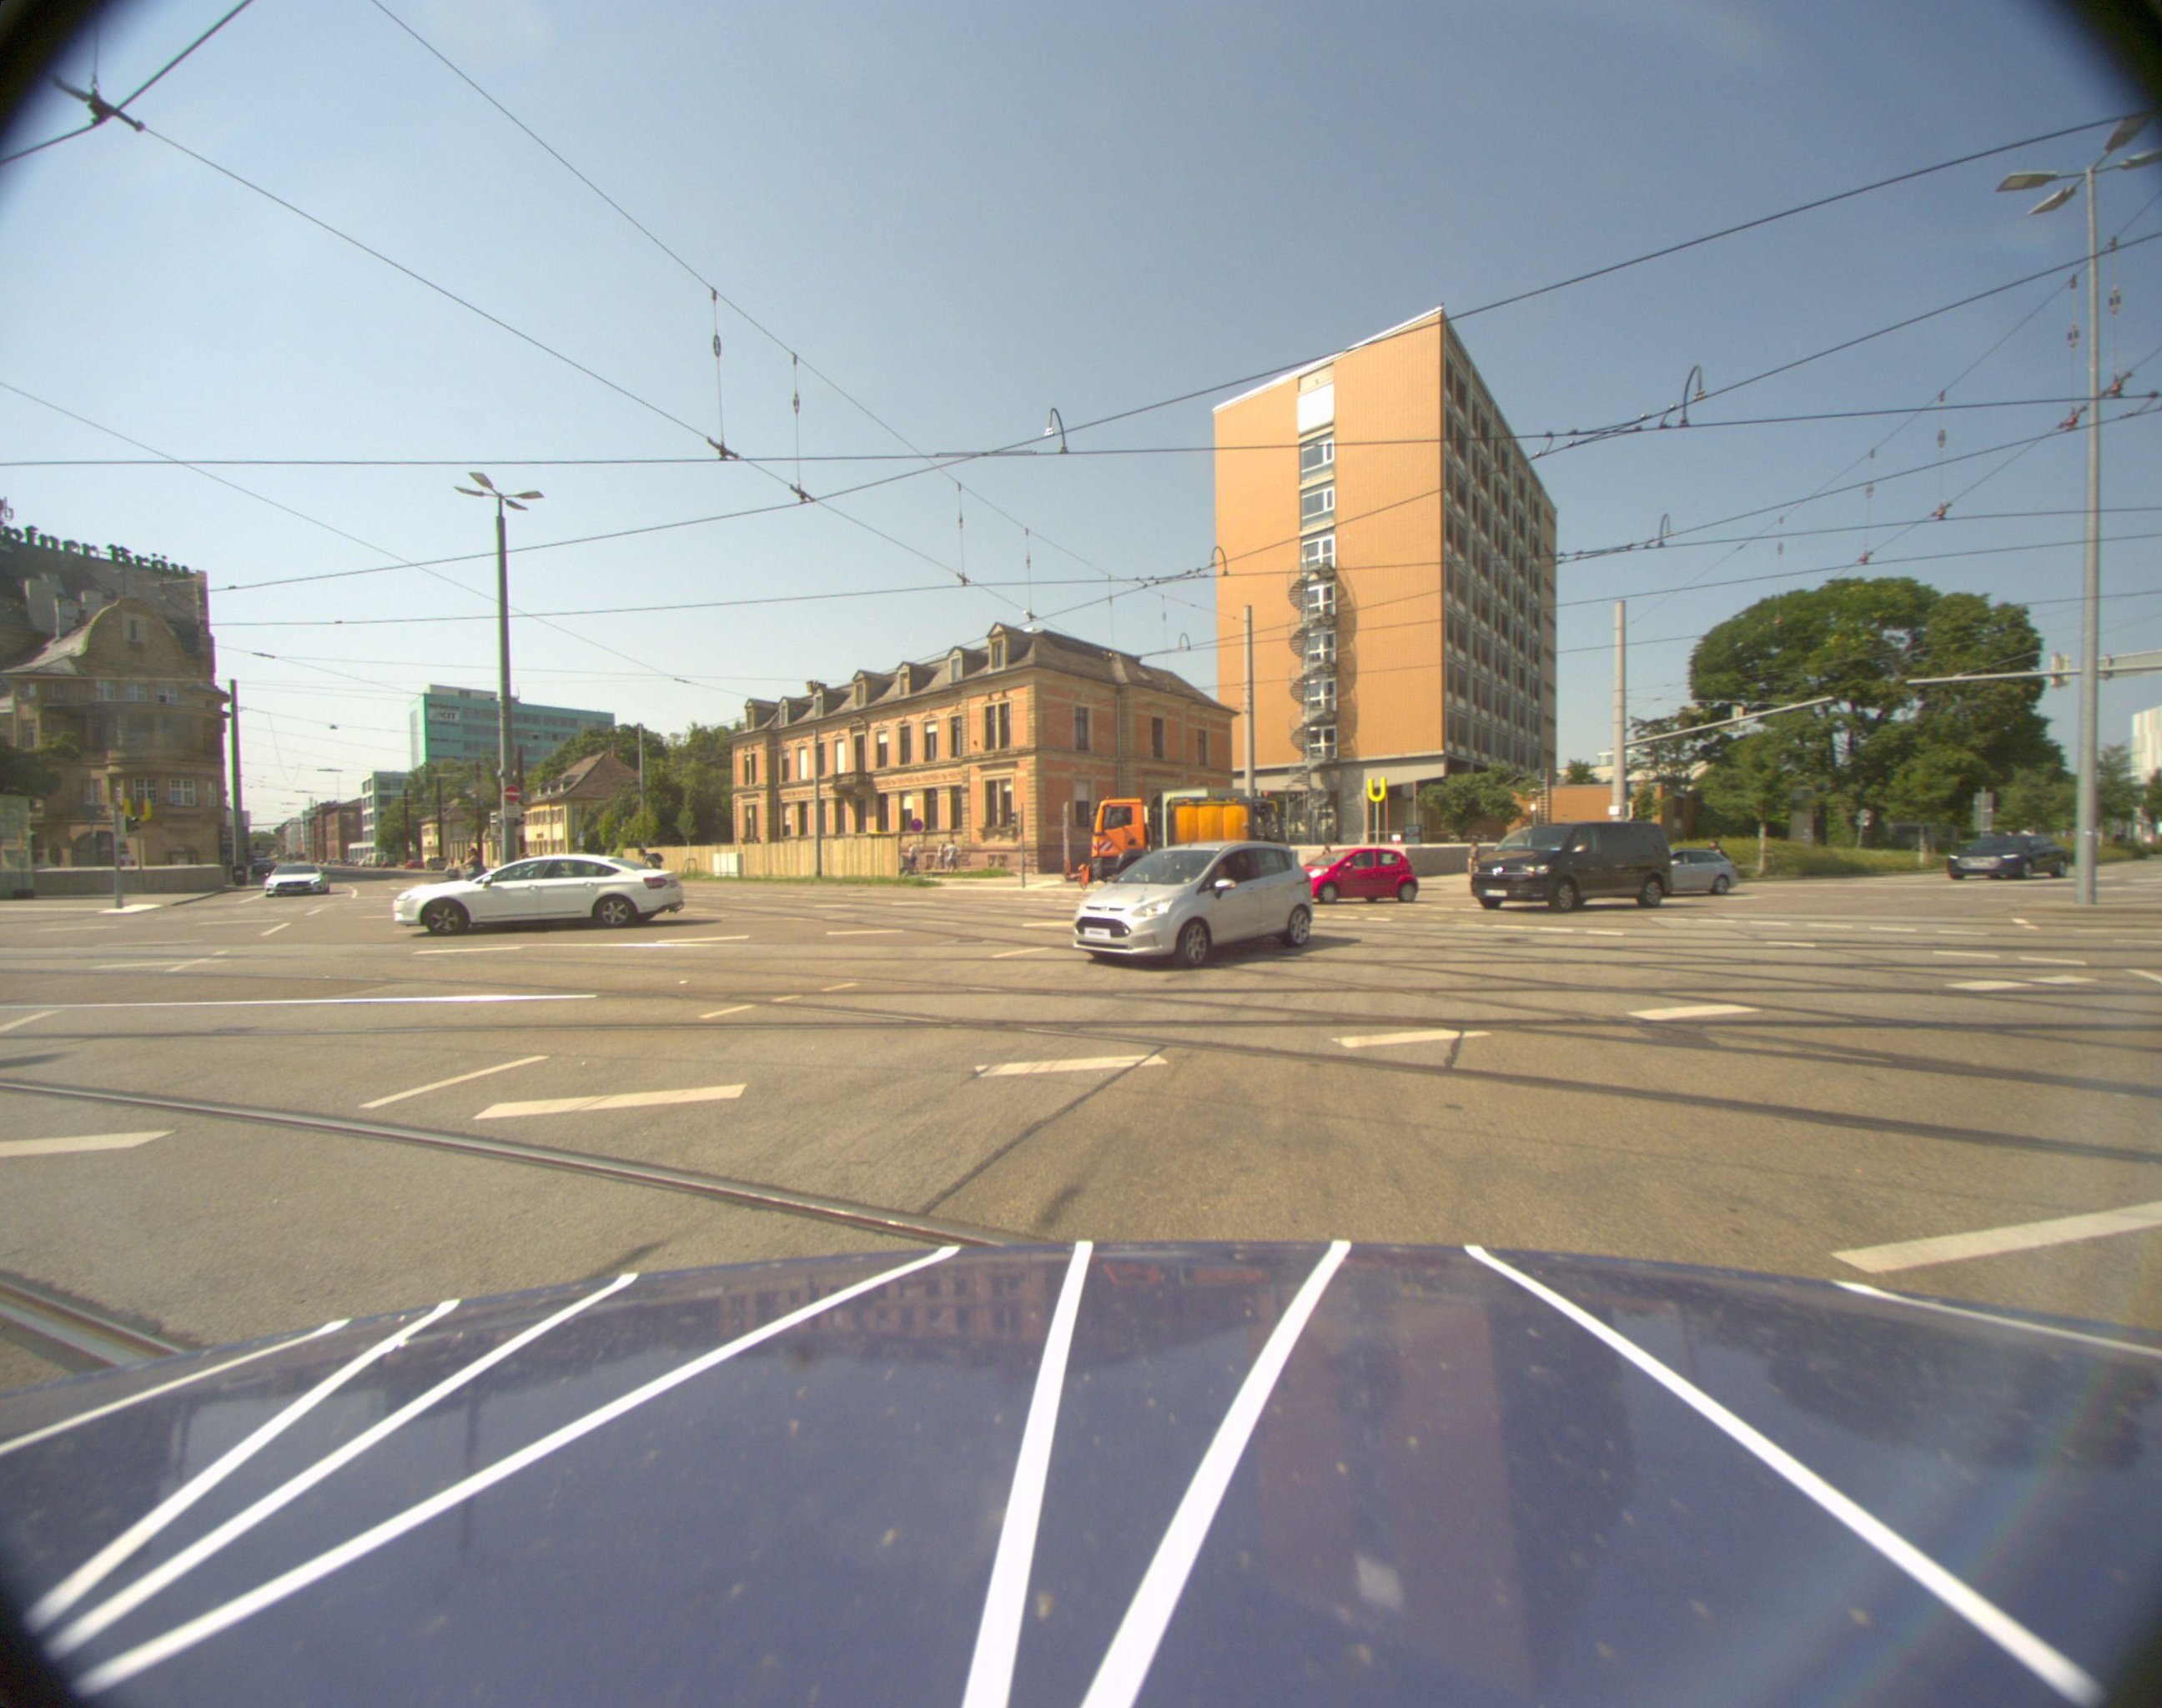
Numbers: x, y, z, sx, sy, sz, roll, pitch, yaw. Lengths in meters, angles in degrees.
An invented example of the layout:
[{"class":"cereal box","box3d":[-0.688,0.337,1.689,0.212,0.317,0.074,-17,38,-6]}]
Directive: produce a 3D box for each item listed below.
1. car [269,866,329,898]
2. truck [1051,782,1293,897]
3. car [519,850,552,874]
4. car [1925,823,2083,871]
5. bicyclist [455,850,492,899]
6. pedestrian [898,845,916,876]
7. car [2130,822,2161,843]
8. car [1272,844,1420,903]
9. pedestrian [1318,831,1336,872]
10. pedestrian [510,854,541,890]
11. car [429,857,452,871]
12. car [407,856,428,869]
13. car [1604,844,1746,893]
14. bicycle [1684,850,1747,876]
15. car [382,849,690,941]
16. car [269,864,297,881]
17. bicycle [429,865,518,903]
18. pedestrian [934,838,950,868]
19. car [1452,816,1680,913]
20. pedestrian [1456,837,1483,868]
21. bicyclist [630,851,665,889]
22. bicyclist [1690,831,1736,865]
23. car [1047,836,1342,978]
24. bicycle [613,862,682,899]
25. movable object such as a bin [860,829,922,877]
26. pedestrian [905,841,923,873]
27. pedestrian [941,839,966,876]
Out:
[{"class":"car","box3d":[-35.167,1.216,34.238,1.591,1.281,3.717,-2,1,-41]},{"class":"truck","box3d":[2.799,-0.418,24.528,7.184,3.210,3.043,-2,0,3]},{"class":"car","box3d":[-50.345,0.746,70.135,2.004,2.002,3.989,-2,0,-42]},{"class":"car","box3d":[34.298,-0.282,28.270,4.702,1.631,1.997,-2,1,-16]},{"class":"bicyclist","box3d":[-18.871,0.626,23.625,0.644,1.473,0.657,-1,1,-14]},{"class":"pedestrian","box3d":[-9.558,0.352,41.796,0.685,1.662,0.685,-1,2,10]},{"class":"car","box3d":[97.889,-1.992,68.903,4.002,1.783,1.997,-2,0,-17]},{"class":"car","box3d":[6.859,0.464,19.742,3.360,1.401,1.515,-1,1,-15]},{"class":"pedestrian","box3d":[10.528,-0.095,32.542,0.457,1.709,0.559,-2,0,-9]},{"class":"pedestrian","box3d":[-21.387,0.671,29.270,0.817,1.344,0.718,-2,1,-28]},{"class":"car","box3d":[-85.946,1.318,101.876,2.004,1.674,3.989,-2,0,-45]},{"class":"car","box3d":[-99.602,1.270,114.040,2.004,1.892,3.989,-2,0,-45]},{"class":"car","box3d":[17.519,0.388,22.451,3.510,1.331,1.515,-1,1,-16]},{"class":"bicycle","box3d":[23.727,0.324,28.412,2.171,0.894,0.641,-1,1,-13]},{"class":"car","box3d":[-10.540,0.730,15.100,4.605,1.609,1.769,0,2,-13]},{"class":"car","box3d":[-68.481,1.614,65.200,3.247,1.390,1.378,-2,0,40]},{"class":"bicycle","box3d":[-18.877,0.917,23.637,2.129,1.105,0.440,-2,2,-14]},{"class":"pedestrian","box3d":[-7.679,-0.062,41.999,0.685,1.662,0.685,-1,2,10]},{"class":"car","box3d":[10.832,0.155,16.936,4.891,1.920,1.897,-1,1,-24]},{"class":"pedestrian","box3d":[17.791,-0.091,34.783,0.850,1.387,0.785,-2,2,-34]},{"class":"bicyclist","box3d":[-14.497,0.509,25.409,0.866,1.227,1.099,-2,2,-36]},{"class":"bicyclist","box3d":[23.696,-0.228,28.499,1.106,1.259,0.856,-1,1,-13]},{"class":"car","box3d":[1.776,0.573,10.800,4.369,1.586,1.688,-2,2,-41]},{"class":"bicycle","box3d":[-14.490,0.869,25.420,1.858,1.105,0.711,-3,4,-37]},{"class":"movable object such as a bin","box3d":[-11.109,-0.097,44.229,1.821,2.656,4.443,-2,2,-37]},{"class":"pedestrian","box3d":[-8.980,0.151,40.805,0.685,1.662,0.685,-1,2,10]},{"class":"pedestrian","box3d":[-6.404,0.181,38.085,1.037,1.803,0.685,-1,2,10]}]
